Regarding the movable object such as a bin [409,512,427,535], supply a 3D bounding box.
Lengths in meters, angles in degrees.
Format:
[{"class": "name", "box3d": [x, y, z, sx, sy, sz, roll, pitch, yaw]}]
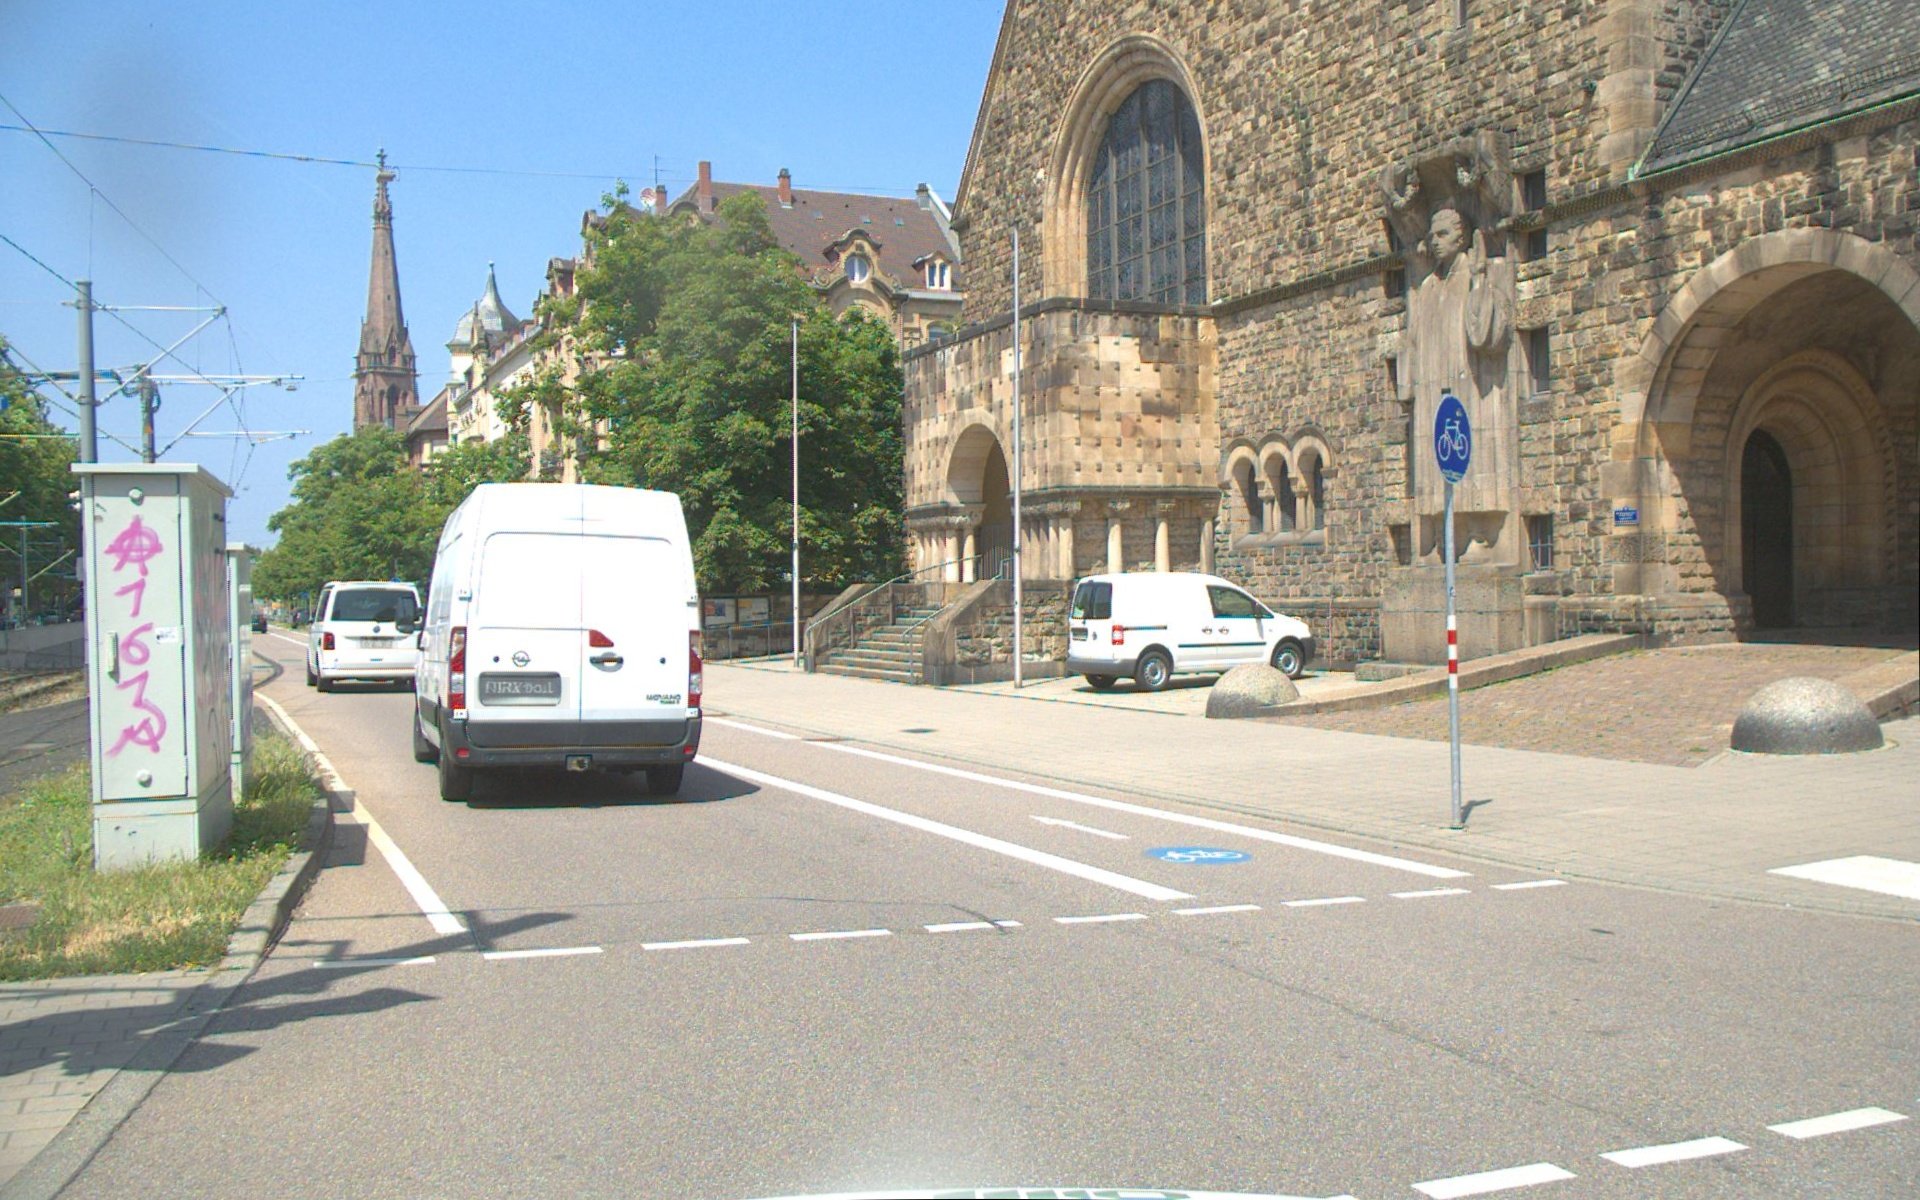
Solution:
[{"class": "movable object such as a bin", "box3d": [-24.799, -3.489, 75.616, 0.775, 1.031, 0.646, -1, 0, -19]}]

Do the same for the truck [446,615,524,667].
[{"class": "truck", "box3d": [-15.157, 1.257, 52.652, 1.766, 1.553, 4.430, -1, 0, -24]}]

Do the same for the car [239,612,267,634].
[{"class": "car", "box3d": [-51.211, 1.659, 119.791, 1.728, 1.566, 3.728, -1, 0, -25]}]

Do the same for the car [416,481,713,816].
[{"class": "car", "box3d": [-3.790, 0.368, 15.087, 2.086, 2.502, 5.024, -1, 0, -20]}]

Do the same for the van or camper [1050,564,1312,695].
[{"class": "van or camper", "box3d": [3.639, 0.430, 27.170, 3.940, 1.857, 1.787, -3, 2, -27]}]

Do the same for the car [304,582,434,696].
[{"class": "car", "box3d": [-11.194, 0.690, 31.180, 1.893, 1.978, 4.229, -1, 0, -26]}]
